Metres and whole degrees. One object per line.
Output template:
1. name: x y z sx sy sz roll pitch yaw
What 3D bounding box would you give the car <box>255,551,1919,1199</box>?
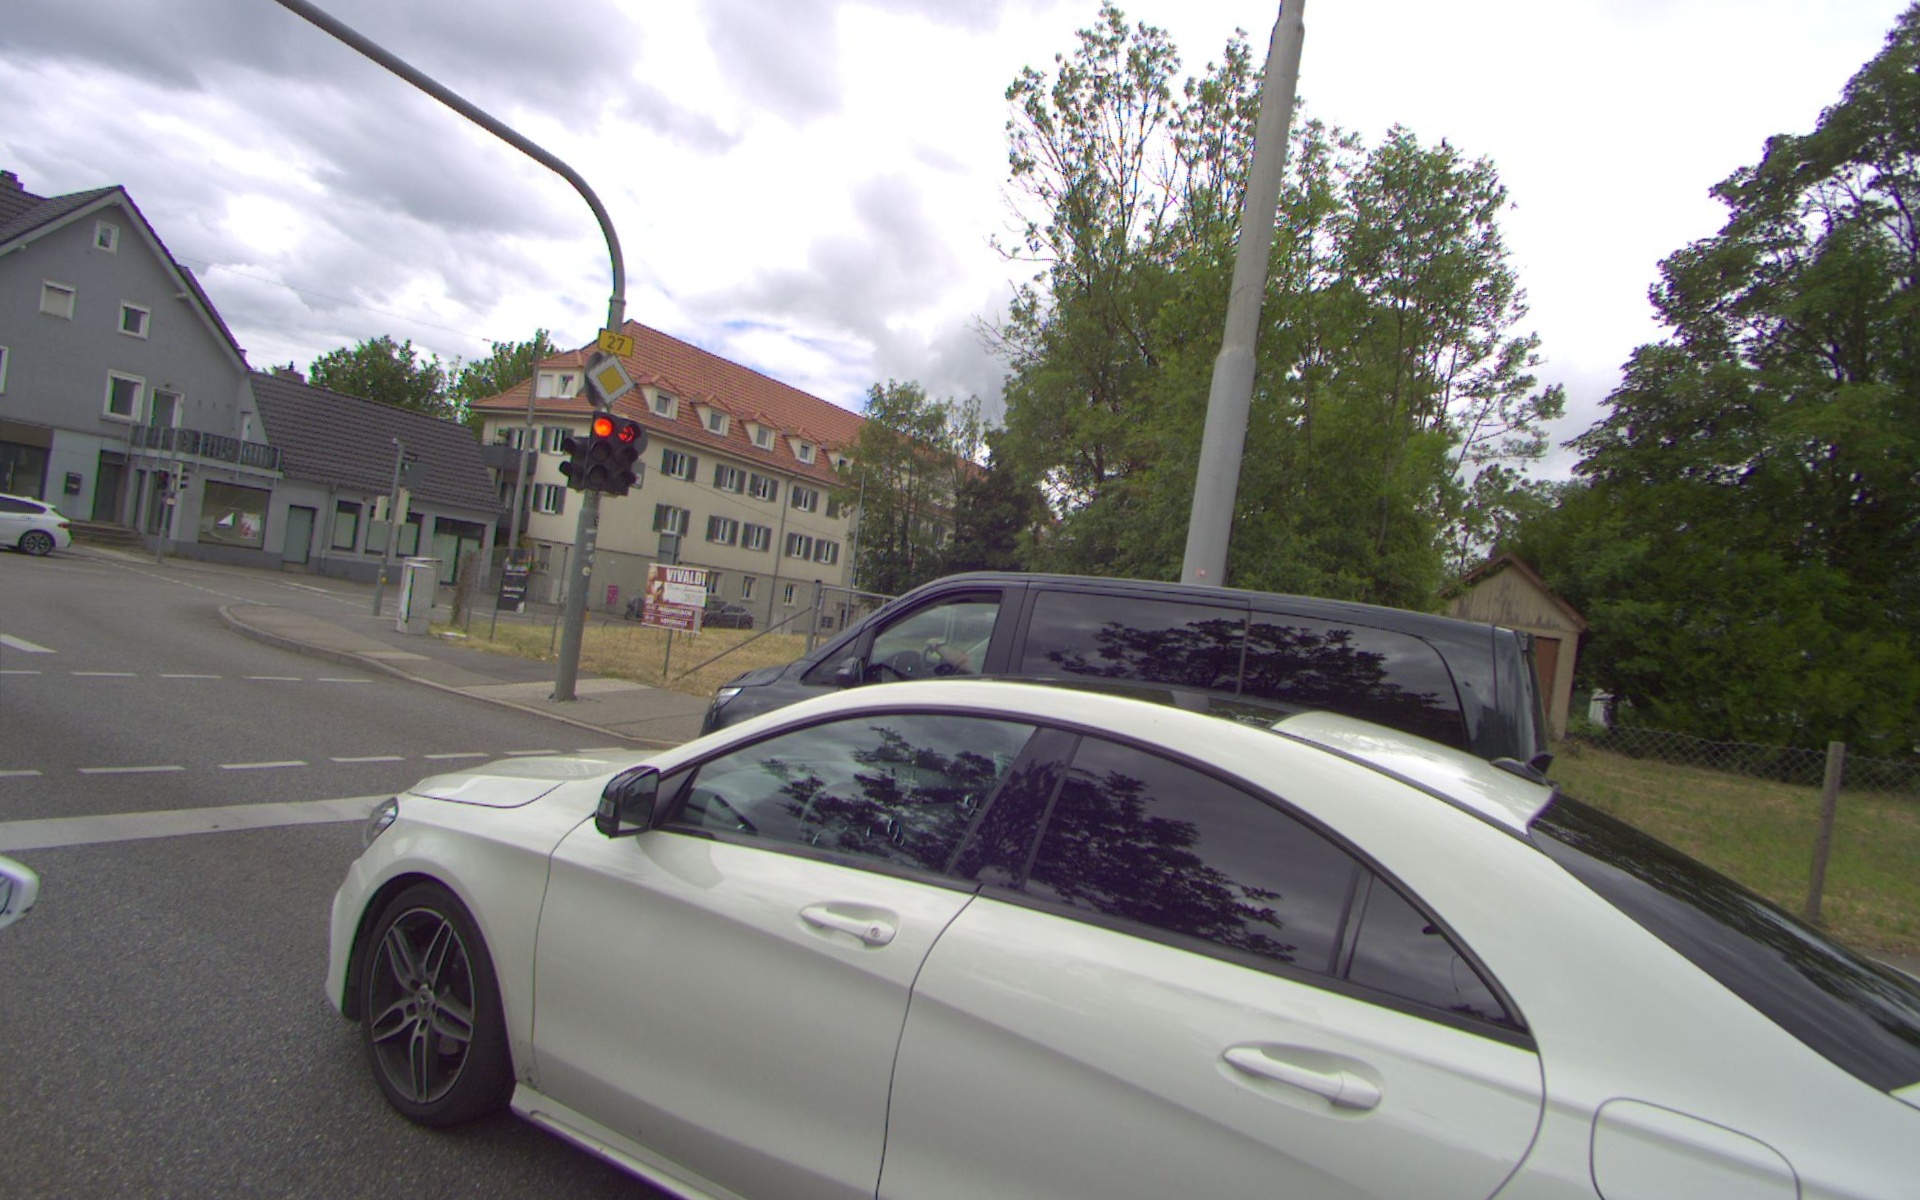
1. car: 0.158 0.848 2.644 4.305 1.451 1.651 7 0 32

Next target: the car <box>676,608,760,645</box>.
1. car: -12.623 1.402 52.653 1.839 1.393 3.996 7 -2 32

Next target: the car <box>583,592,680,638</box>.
1. car: -15.518 0.739 47.665 1.839 1.554 3.996 7 -2 32

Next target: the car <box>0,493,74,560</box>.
1. car: -25.701 -2.133 25.605 1.967 1.494 4.249 7 -2 33

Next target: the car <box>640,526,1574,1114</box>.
1. car: 0.645 0.809 5.691 4.631 1.860 1.953 7 -2 32
